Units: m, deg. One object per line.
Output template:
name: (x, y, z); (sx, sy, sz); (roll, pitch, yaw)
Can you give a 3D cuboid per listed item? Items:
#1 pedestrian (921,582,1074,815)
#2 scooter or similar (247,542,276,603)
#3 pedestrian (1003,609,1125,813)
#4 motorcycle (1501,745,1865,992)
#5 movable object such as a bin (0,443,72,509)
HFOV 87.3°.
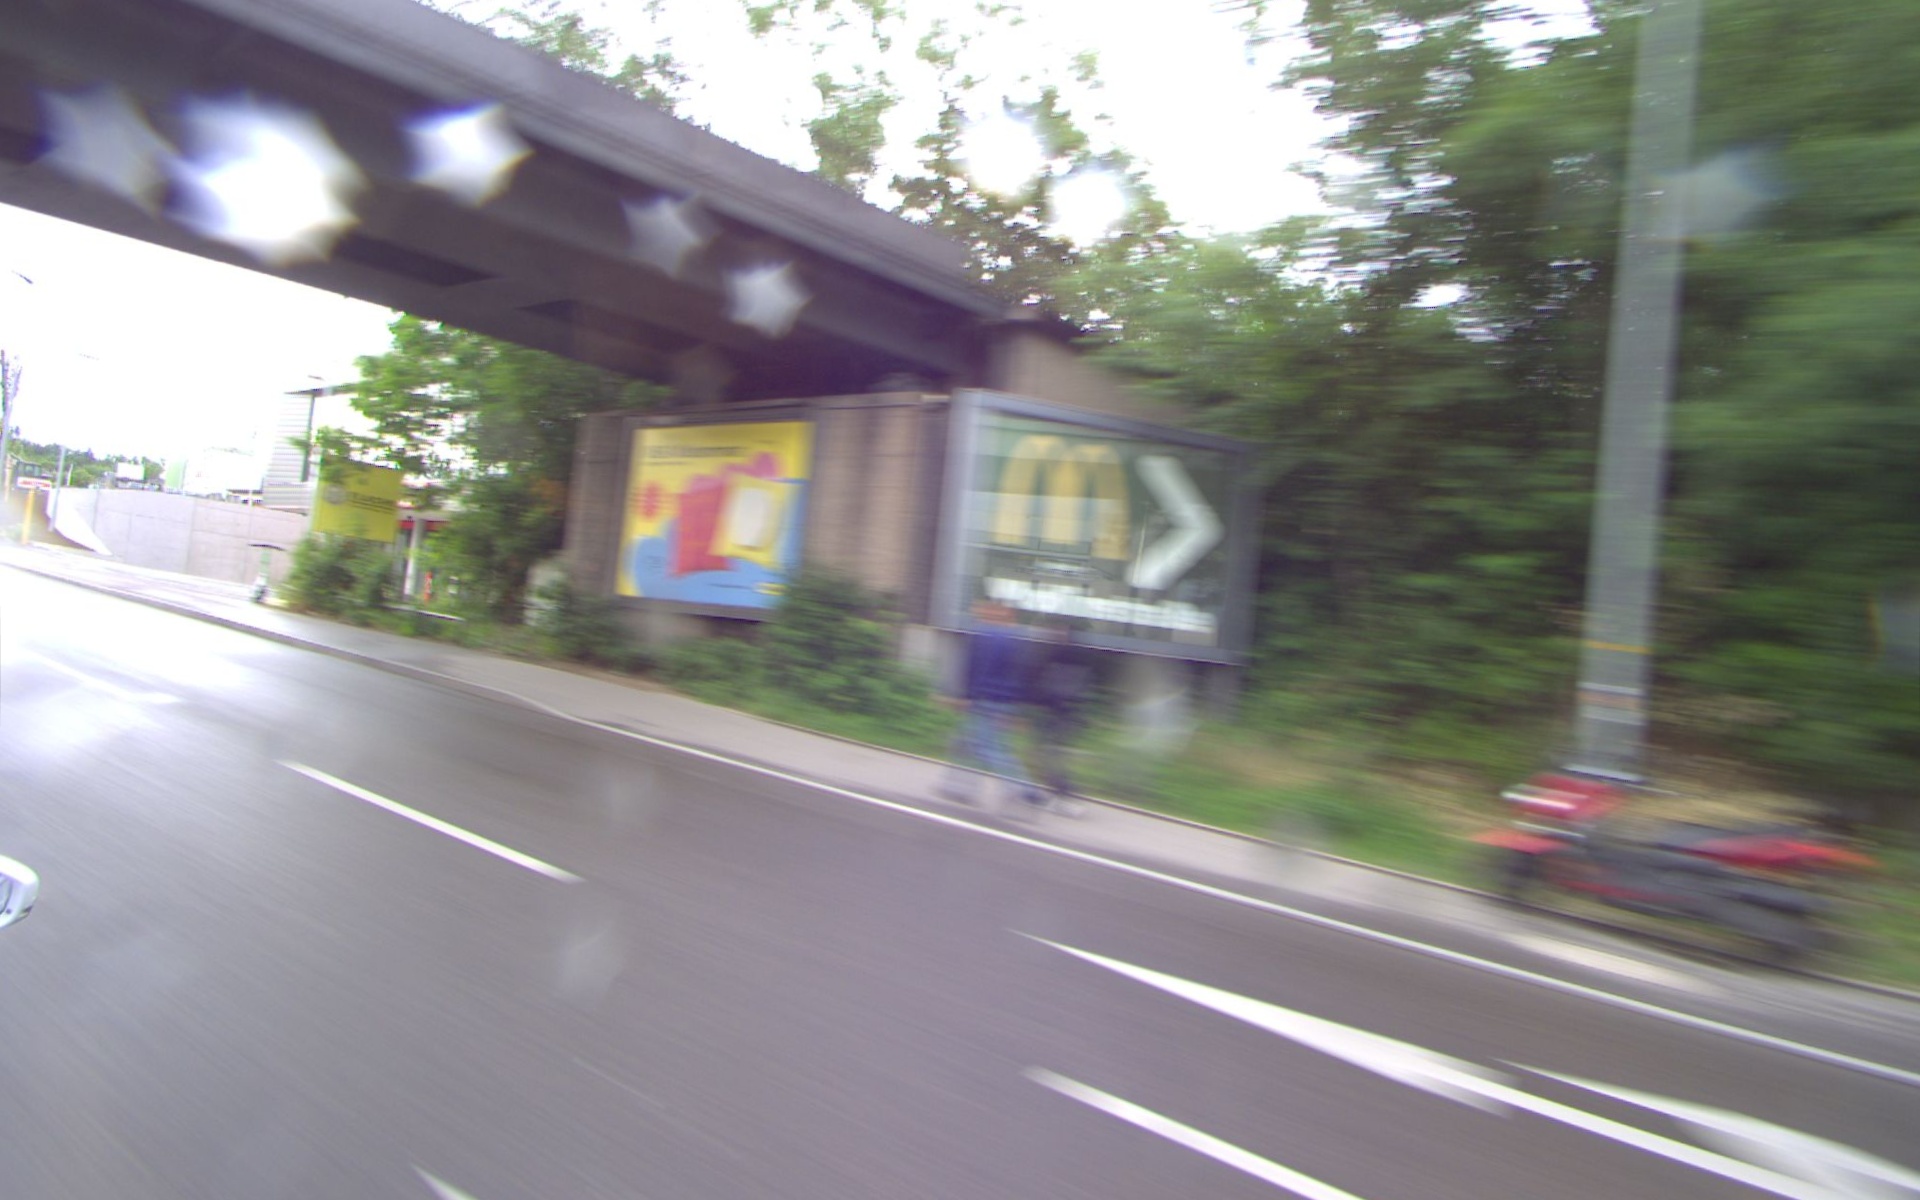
pedestrian: (0.302, 0.780, 8.225); (0.880, 1.741, 0.610); (6, -1, 44)
scooter or similar: (-14.054, -0.567, 20.238); (0.254, 1.142, 1.265); (9, -2, -39)
pedestrian: (0.888, 0.933, 8.536); (0.571, 1.615, 0.649); (7, -1, 45)
motorcycle: (4.661, 1.684, 6.630); (1.789, 1.150, 0.470); (6, -1, 33)
movable object such as a bin: (-57.594, -7.699, 61.863); (5.328, 3.314, 2.309); (8, -1, 26)
